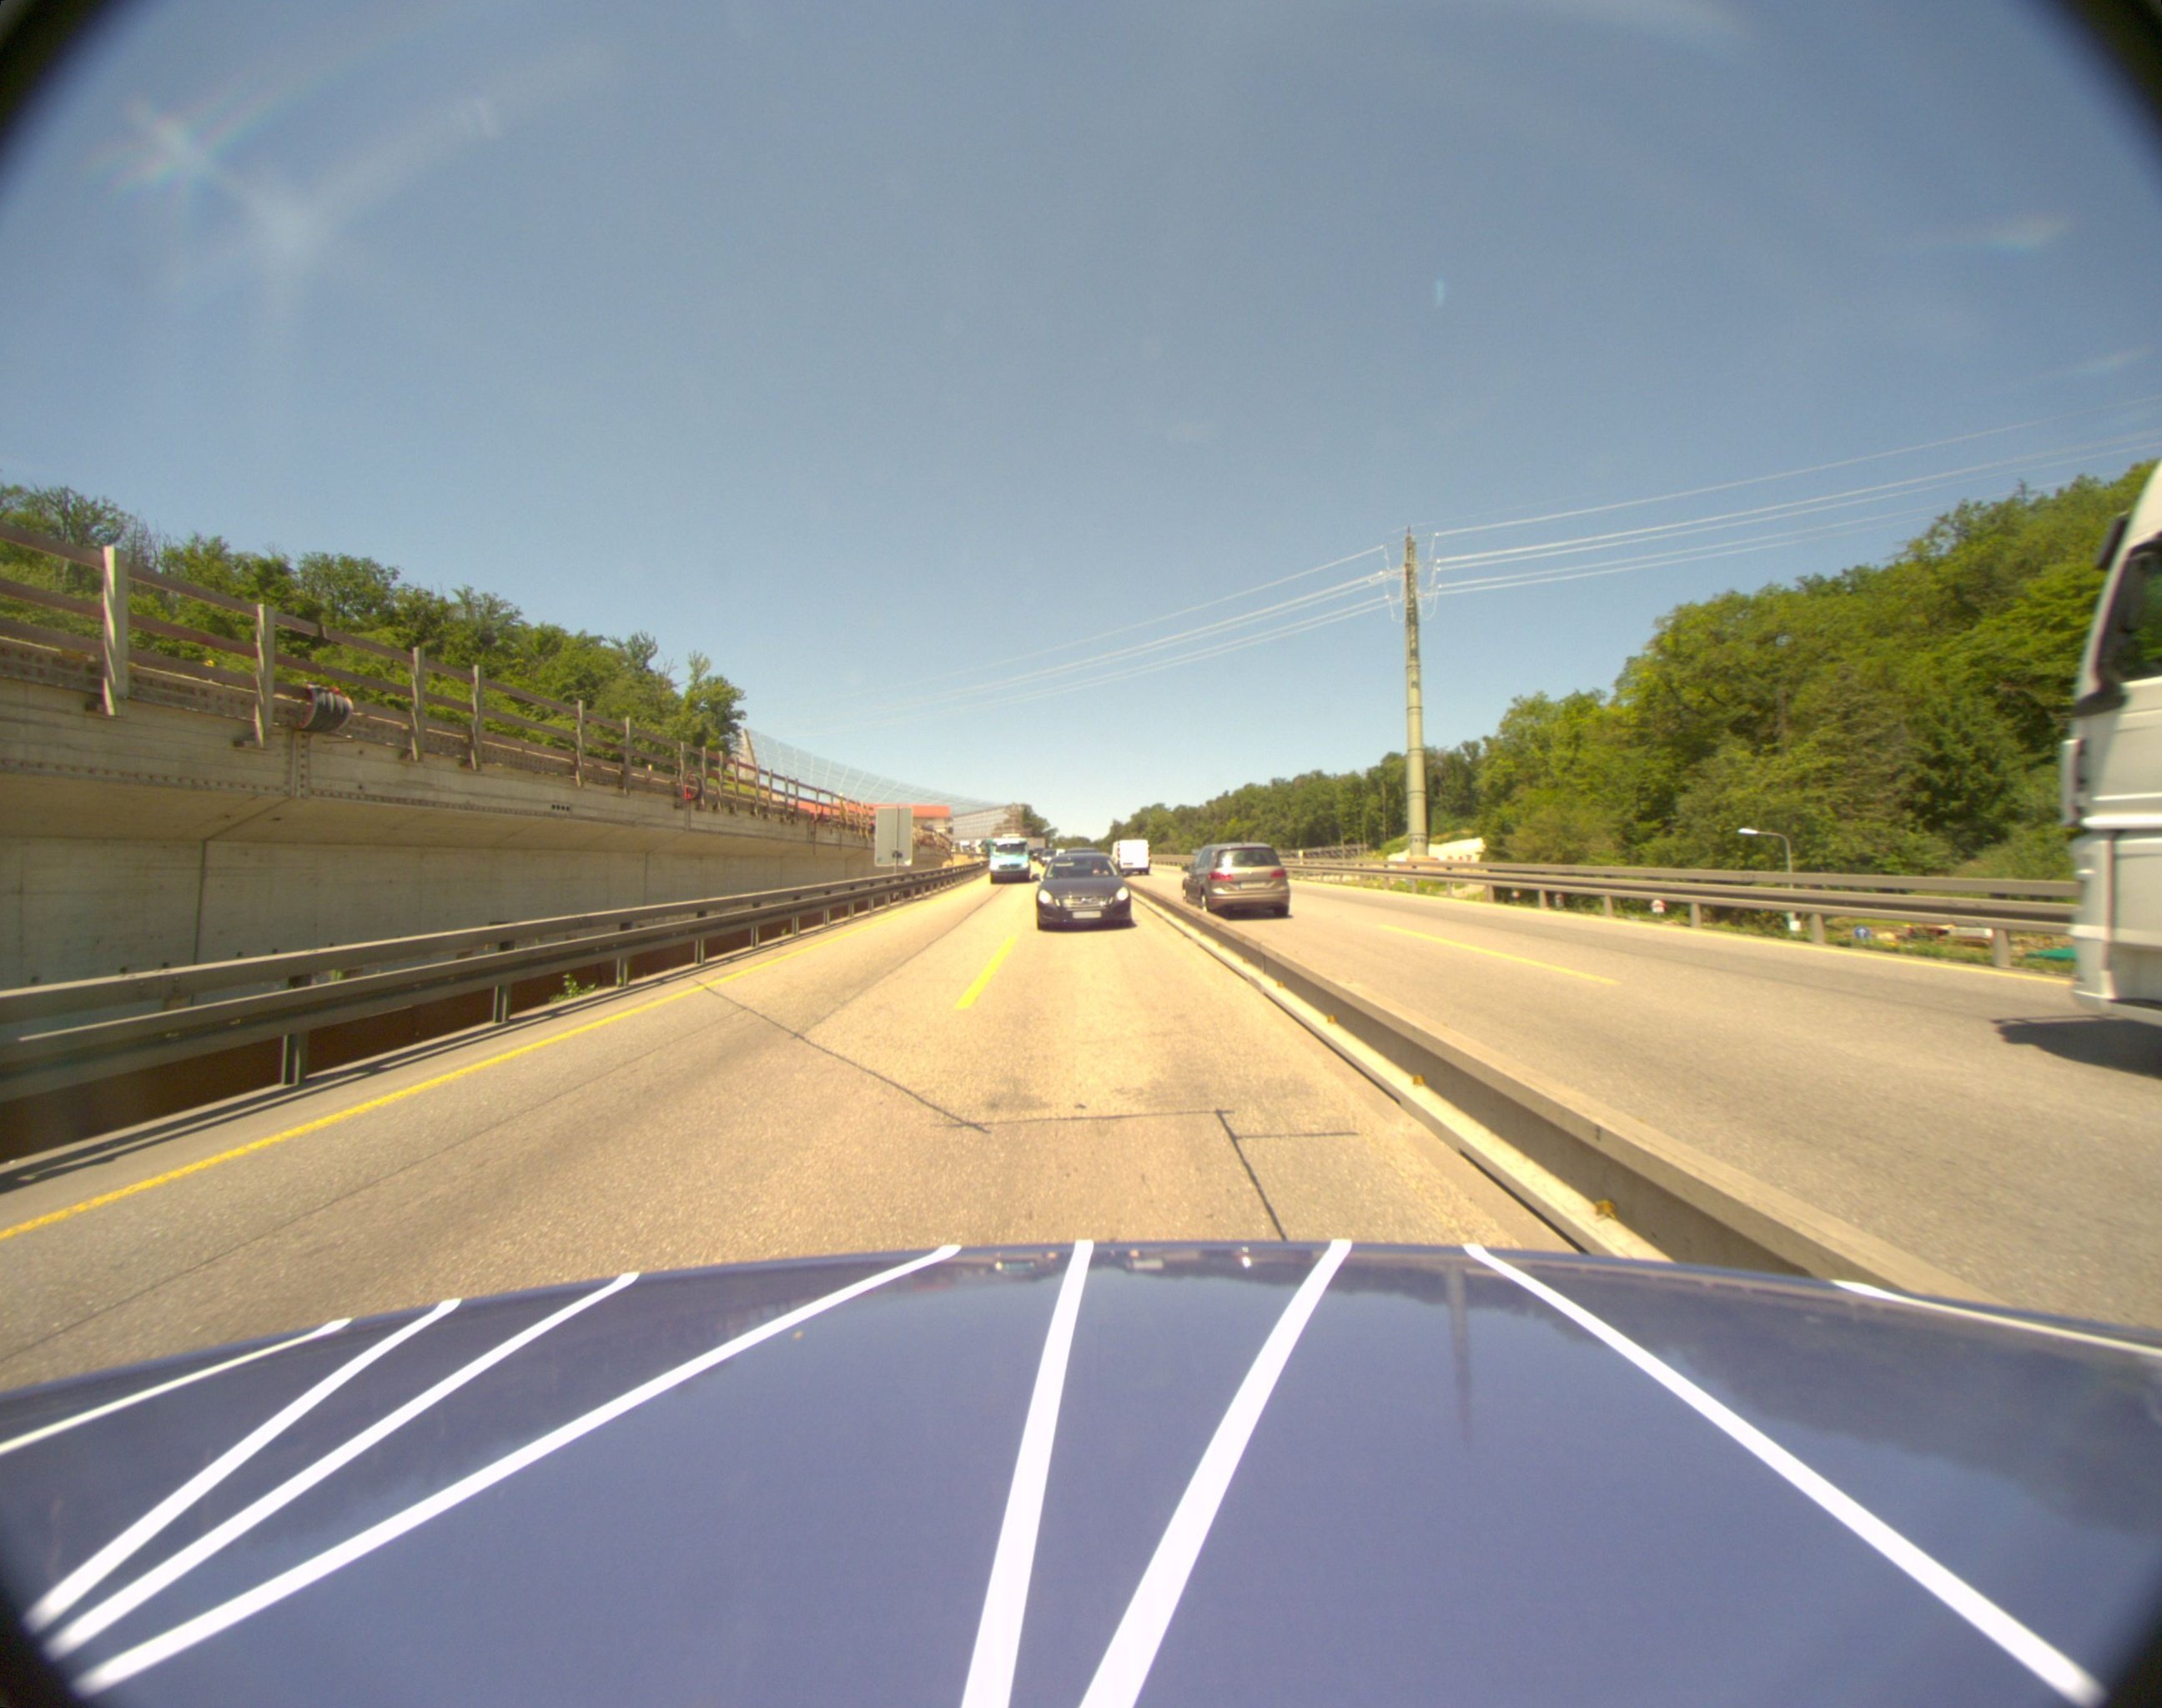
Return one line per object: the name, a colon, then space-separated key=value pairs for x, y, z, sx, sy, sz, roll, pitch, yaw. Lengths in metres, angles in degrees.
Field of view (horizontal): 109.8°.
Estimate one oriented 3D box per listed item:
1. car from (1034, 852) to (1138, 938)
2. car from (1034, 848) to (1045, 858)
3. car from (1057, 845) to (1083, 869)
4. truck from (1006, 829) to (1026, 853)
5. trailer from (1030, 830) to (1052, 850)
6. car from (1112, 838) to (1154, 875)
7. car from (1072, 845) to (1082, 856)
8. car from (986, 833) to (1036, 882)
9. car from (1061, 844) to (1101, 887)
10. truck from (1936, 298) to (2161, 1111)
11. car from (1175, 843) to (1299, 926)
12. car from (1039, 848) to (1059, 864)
car: x=-0.002 y=0.737 z=16.049 sx=1.844 sy=1.475 sz=4.561 roll=-2 pitch=0 yaw=-2
car: x=-6.680 y=-0.171 z=122.645 sx=1.647 sy=1.366 sz=3.343 roll=-3 pitch=1 yaw=-4
car: x=-0.772 y=0.175 z=55.233 sx=1.736 sy=1.558 sz=3.619 roll=-2 pitch=1 yaw=0
truck: x=-10.158 y=-1.992 z=118.257 sx=2.472 sy=3.464 sz=9.860 roll=-3 pitch=1 yaw=-7
trailer: x=-9.536 y=-3.312 z=178.803 sx=3.500 sy=4.461 sz=12.912 roll=-3 pitch=1 yaw=-9
car: x=2.975 y=0.087 z=44.539 sx=1.999 sy=1.999 sz=4.856 roll=-1 pitch=1 yaw=-1
car: x=-0.785 y=-0.708 z=149.555 sx=1.999 sy=1.999 sz=4.856 roll=-1 pitch=1 yaw=-1
car: x=-3.606 y=0.098 z=40.185 sx=2.217 sy=2.313 sz=6.898 roll=-2 pitch=1 yaw=-2
car: x=0.032 y=0.423 z=31.027 sx=1.519 sy=1.543 sz=3.860 roll=-2 pitch=1 yaw=1
truck: x=7.422 y=-0.771 z=0.986 sx=3.311 sy=4.337 sz=8.299 roll=-2 pitch=1 yaw=0
car: x=3.327 y=0.569 z=16.963 sx=1.850 sy=1.565 sz=3.999 roll=-2 pitch=1 yaw=-1
car: x=-3.053 y=0.205 z=73.287 sx=1.647 sy=1.366 sz=3.344 roll=-2 pitch=1 yaw=1
